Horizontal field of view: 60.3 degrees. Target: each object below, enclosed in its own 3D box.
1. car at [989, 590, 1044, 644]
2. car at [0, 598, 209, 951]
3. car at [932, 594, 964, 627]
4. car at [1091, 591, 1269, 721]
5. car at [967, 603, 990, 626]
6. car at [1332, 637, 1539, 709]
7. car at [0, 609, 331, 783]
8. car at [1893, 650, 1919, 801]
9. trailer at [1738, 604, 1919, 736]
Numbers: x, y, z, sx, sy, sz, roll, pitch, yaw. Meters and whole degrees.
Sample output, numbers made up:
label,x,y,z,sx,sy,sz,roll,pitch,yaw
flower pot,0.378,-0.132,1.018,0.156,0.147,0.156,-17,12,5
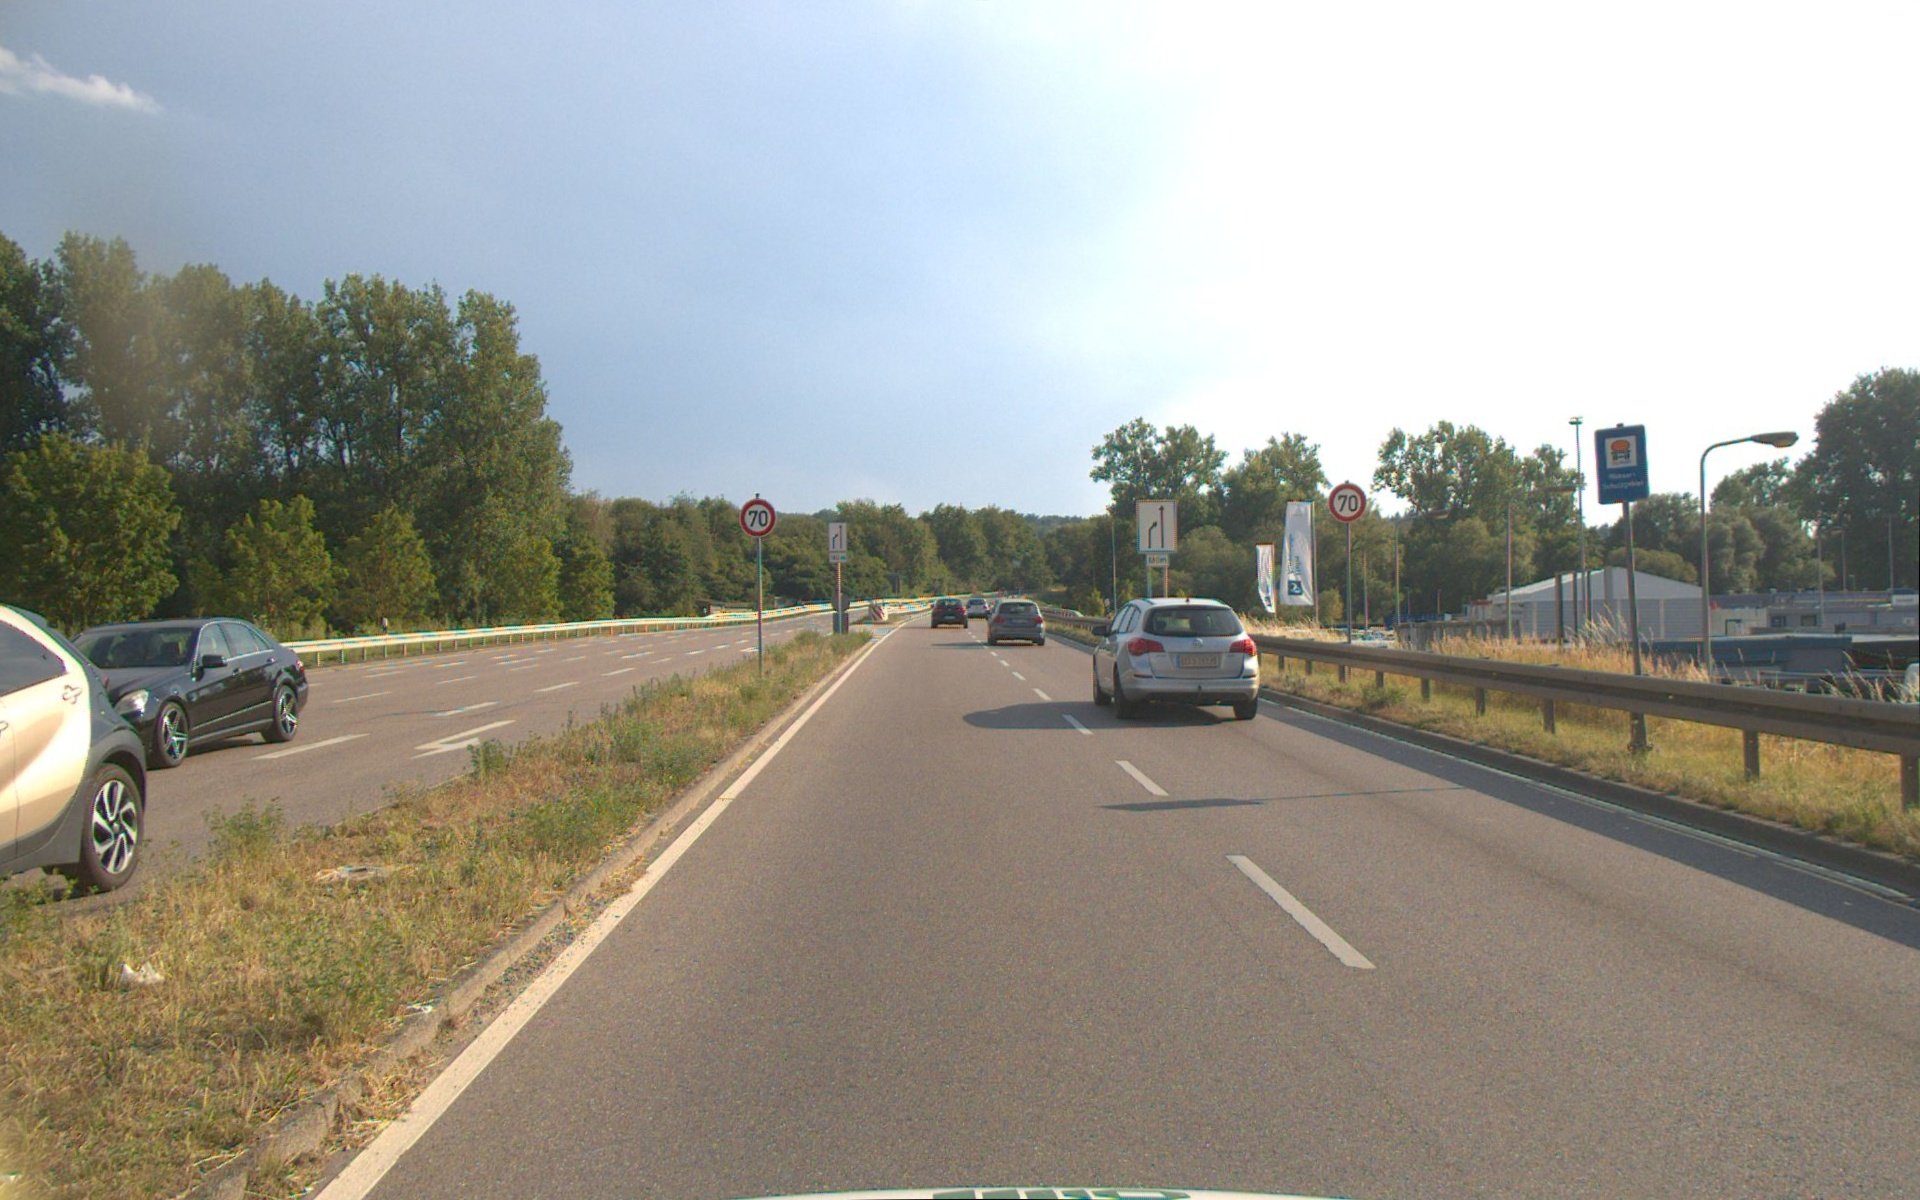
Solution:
label,x,y,z,sx,sy,sz,roll,pitch,yaw
car,1.754,0.560,52.568,1.633,1.601,4.000,1,-1,1
car,-5.095,0.799,7.285,1.744,1.546,3.999,-2,-1,-1
car,-0.562,0.513,79.133,1.462,1.502,3.358,1,-1,1
car,2.761,0.699,21.533,1.772,1.512,3.999,1,-1,0
car,1.264,1.022,112.574,1.462,1.502,3.358,1,-1,1
car,14.437,2.210,50.443,5.758,2.049,2.000,1,-1,3
car,-8.412,0.903,17.536,1.680,1.489,4.725,-3,0,-1
car,13.789,1.568,20.061,3.904,1.848,1.835,1,-1,1
trailer,25.490,1.858,44.361,7.713,3.381,3.360,1,-1,4
